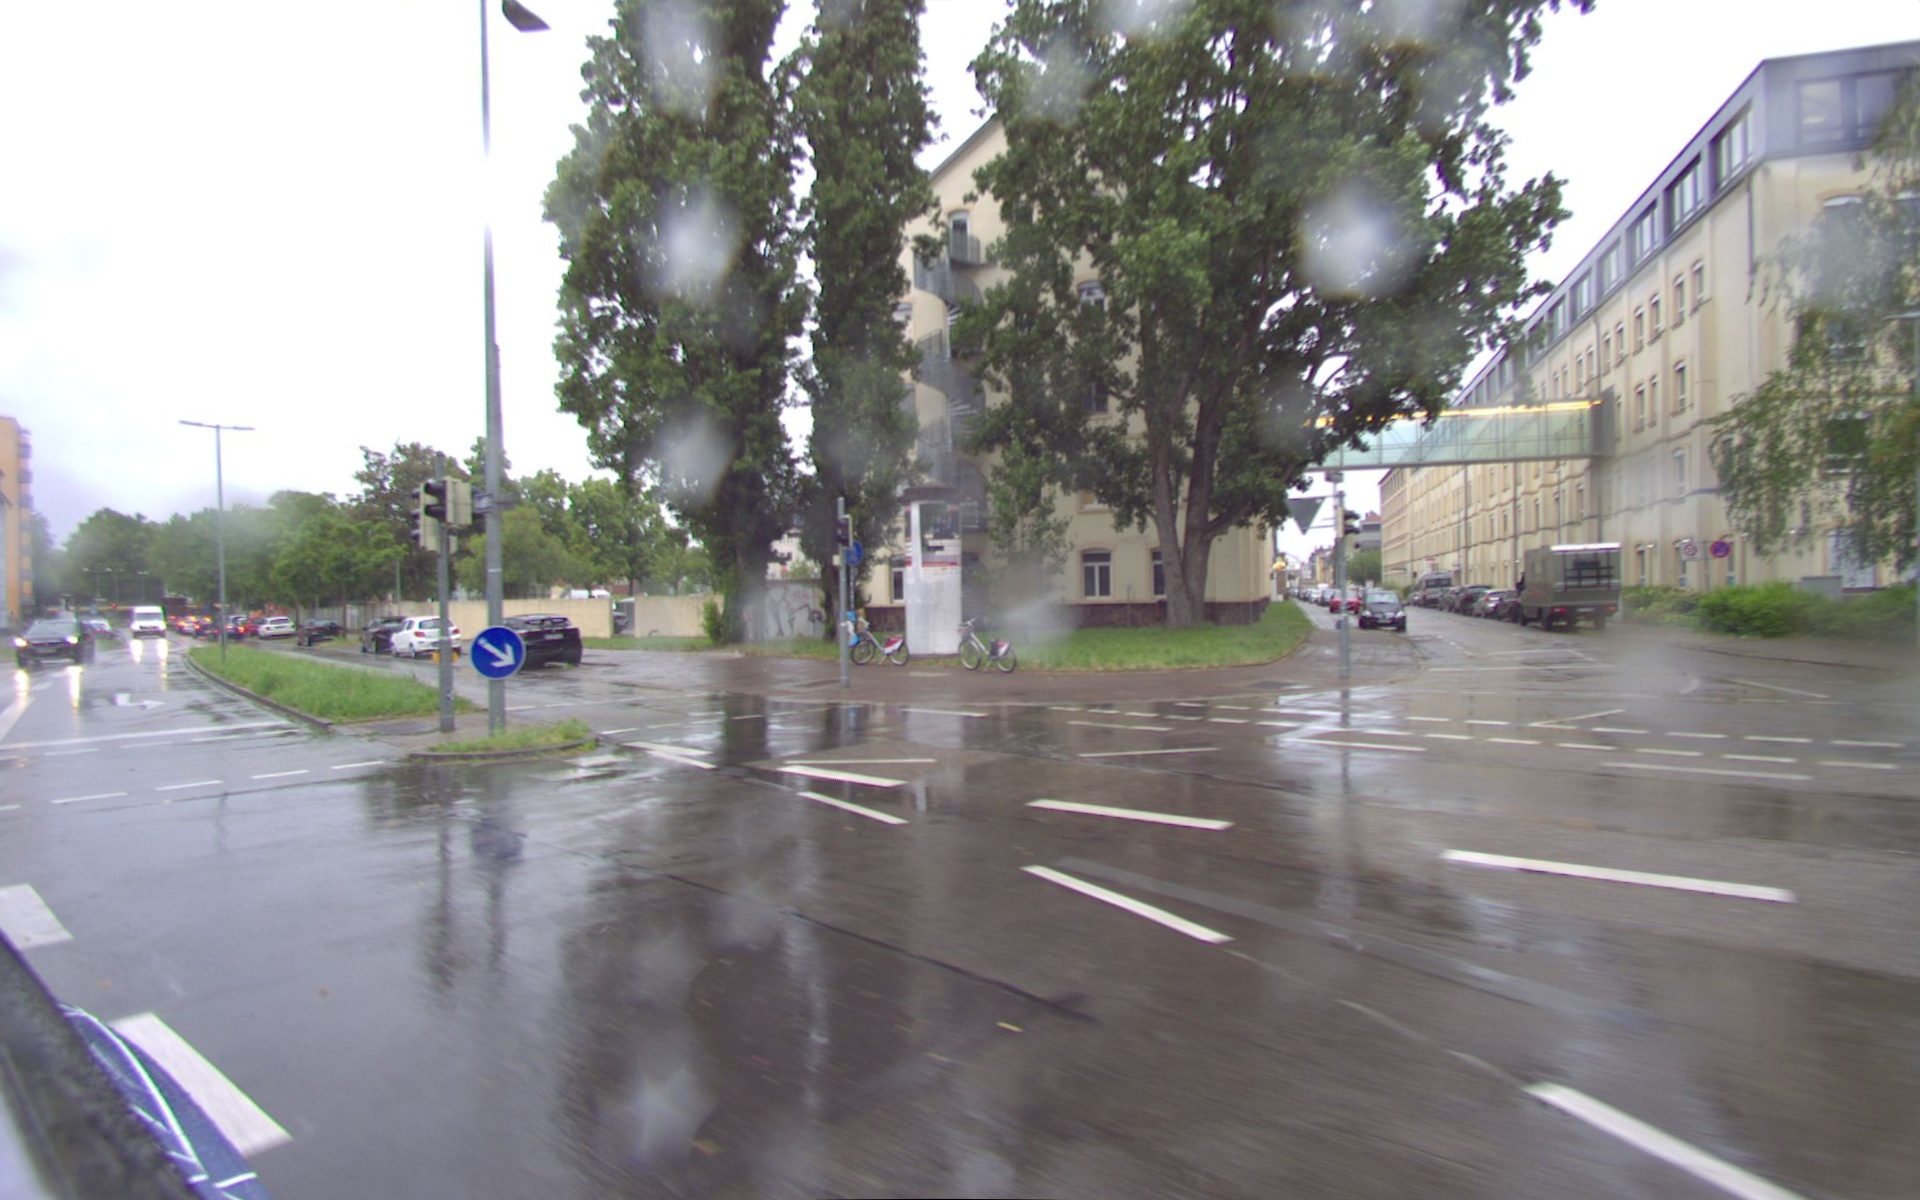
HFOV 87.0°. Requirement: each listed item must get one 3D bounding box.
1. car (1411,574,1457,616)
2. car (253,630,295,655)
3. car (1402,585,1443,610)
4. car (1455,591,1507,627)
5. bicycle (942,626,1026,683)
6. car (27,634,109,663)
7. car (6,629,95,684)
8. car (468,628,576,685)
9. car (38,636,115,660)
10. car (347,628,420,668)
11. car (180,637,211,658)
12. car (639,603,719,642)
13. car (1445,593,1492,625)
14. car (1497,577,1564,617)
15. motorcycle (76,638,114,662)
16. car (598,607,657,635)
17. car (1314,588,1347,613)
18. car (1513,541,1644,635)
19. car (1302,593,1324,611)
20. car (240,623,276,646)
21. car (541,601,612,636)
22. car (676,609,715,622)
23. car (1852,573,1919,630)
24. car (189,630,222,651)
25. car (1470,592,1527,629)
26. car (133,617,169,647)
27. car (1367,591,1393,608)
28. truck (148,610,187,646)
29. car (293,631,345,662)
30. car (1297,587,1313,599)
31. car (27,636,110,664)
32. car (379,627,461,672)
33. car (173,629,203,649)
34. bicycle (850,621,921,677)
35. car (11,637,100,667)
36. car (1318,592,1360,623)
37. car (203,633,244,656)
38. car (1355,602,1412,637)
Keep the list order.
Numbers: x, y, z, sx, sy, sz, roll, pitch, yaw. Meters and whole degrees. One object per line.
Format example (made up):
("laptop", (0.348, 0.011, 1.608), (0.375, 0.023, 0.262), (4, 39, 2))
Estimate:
("car", (34.413, -0.394, 73.628), (2.318, 2.892, 5.580), (-2, 0, 19))
("car", (-46.198, 2.831, 68.147), (1.753, 1.471, 4.687), (-2, 0, -41))
("car", (36.961, -0.192, 80.977), (2.318, 1.824, 5.580), (-2, 0, 19))
("car", (29.242, 0.491, 56.916), (1.984, 1.829, 3.975), (-2, 0, 19))
("bicycle", (0.475, 1.095, 20.747), (1.796, 1.085, 0.549), (-2, 0, 44))
("car", (-58.406, 3.182, 66.349), (3.864, 1.627, 1.695), (-2, 0, -39))
("car", (-31.385, 1.895, 35.032), (1.803, 1.641, 4.010), (-2, 0, -36))
("car", (-12.523, 1.551, 28.819), (1.526, 1.407, 4.199), (-4, 1, -42))
("car", (-64.491, 3.499, 73.970), (4.108, 1.487, 1.653), (-2, 0, -39))
("car", (-23.587, 1.919, 41.354), (1.706, 1.393, 4.185), (-4, 2, -42))
("car", (-68.483, 4.230, 90.625), (2.039, 1.755, 4.182), (-2, 0, -38))
("car", (-16.106, 1.287, 58.073), (3.961, 2.006, 1.992), (-2, 0, 14))
("car", (31.256, 0.547, 62.327), (1.984, 1.829, 3.975), (-2, 0, 19))
("car", (26.099, -0.160, 46.429), (1.878, 1.669, 3.976), (-2, 0, 18))
("motorcycle", (-54.514, 3.167, 63.785), (1.740, 1.383, 0.736), (-2, 0, -39))
("car", (-26.200, 1.621, 79.698), (3.969, 2.029, 1.987), (-2, 0, 20))
("car", (30.587, 0.008, 83.658), (2.318, 1.824, 5.580), (-2, 0, 19))
("car", (23.572, -0.456, 38.925), (2.815, 3.217, 6.180), (-2, 0, 18))
("car", (39.882, 0.182, 114.424), (2.318, 1.824, 5.580), (-2, 0, 19))
("car", (-51.623, 2.522, 74.428), (1.605, 1.610, 3.802), (-2, 0, -43))
("car", (-28.503, 1.401, 75.274), (4.685, 2.414, 2.135), (-2, 0, 21))
("car", (-31.344, 1.833, 119.913), (3.968, 1.453, 1.988), (-2, -1, 19))
("car", (28.036, -0.030, 28.022), (4.497, 1.511, 1.987), (-2, 0, 20))
("car", (-56.792, 3.029, 76.184), (1.685, 1.512, 3.952), (2, -2, -41))
("car", (27.628, 0.509, 52.047), (1.878, 1.694, 3.976), (-2, 0, 18))
("car", (-65.531, 2.559, 81.962), (2.161, 2.272, 4.893), (-2, 0, -40))
("car", (47.252, -0.070, 113.917), (2.318, 1.824, 4.705), (-2, 0, 19))
("truck", (-106.004, 3.722, 135.313), (3.775, 4.418, 10.804), (-2, 0, -39))
("car", (-33.200, 2.375, 52.382), (1.675, 1.456, 4.103), (-3, 1, -41))
("car", (55.662, -1.192, 163.447), (2.318, 1.824, 5.580), (-2, 0, 19))
("car", (-56.751, 3.184, 64.526), (3.864, 1.491, 1.860), (-2, 0, -39))
("car", (-19.837, 1.784, 37.109), (1.583, 1.485, 4.126), (-2, 0, -43))
("car", (-72.608, 3.638, 95.198), (2.040, 1.755, 4.182), (-2, 0, -39))
("bicycle", (-1.705, 1.092, 23.010), (1.625, 1.195, 0.689), (-2, 0, 44))
("car", (-52.303, 2.995, 58.605), (3.704, 1.466, 1.804), (-2, -1, -40))
("car", (24.741, 0.467, 66.231), (2.318, 1.824, 5.580), (-2, 0, 19))
("car", (-47.311, 2.821, 64.963), (1.706, 1.404, 3.955), (2, -2, -42))
("car", (17.887, 0.794, 42.908), (1.892, 1.279, 4.071), (-2, 0, 19))
